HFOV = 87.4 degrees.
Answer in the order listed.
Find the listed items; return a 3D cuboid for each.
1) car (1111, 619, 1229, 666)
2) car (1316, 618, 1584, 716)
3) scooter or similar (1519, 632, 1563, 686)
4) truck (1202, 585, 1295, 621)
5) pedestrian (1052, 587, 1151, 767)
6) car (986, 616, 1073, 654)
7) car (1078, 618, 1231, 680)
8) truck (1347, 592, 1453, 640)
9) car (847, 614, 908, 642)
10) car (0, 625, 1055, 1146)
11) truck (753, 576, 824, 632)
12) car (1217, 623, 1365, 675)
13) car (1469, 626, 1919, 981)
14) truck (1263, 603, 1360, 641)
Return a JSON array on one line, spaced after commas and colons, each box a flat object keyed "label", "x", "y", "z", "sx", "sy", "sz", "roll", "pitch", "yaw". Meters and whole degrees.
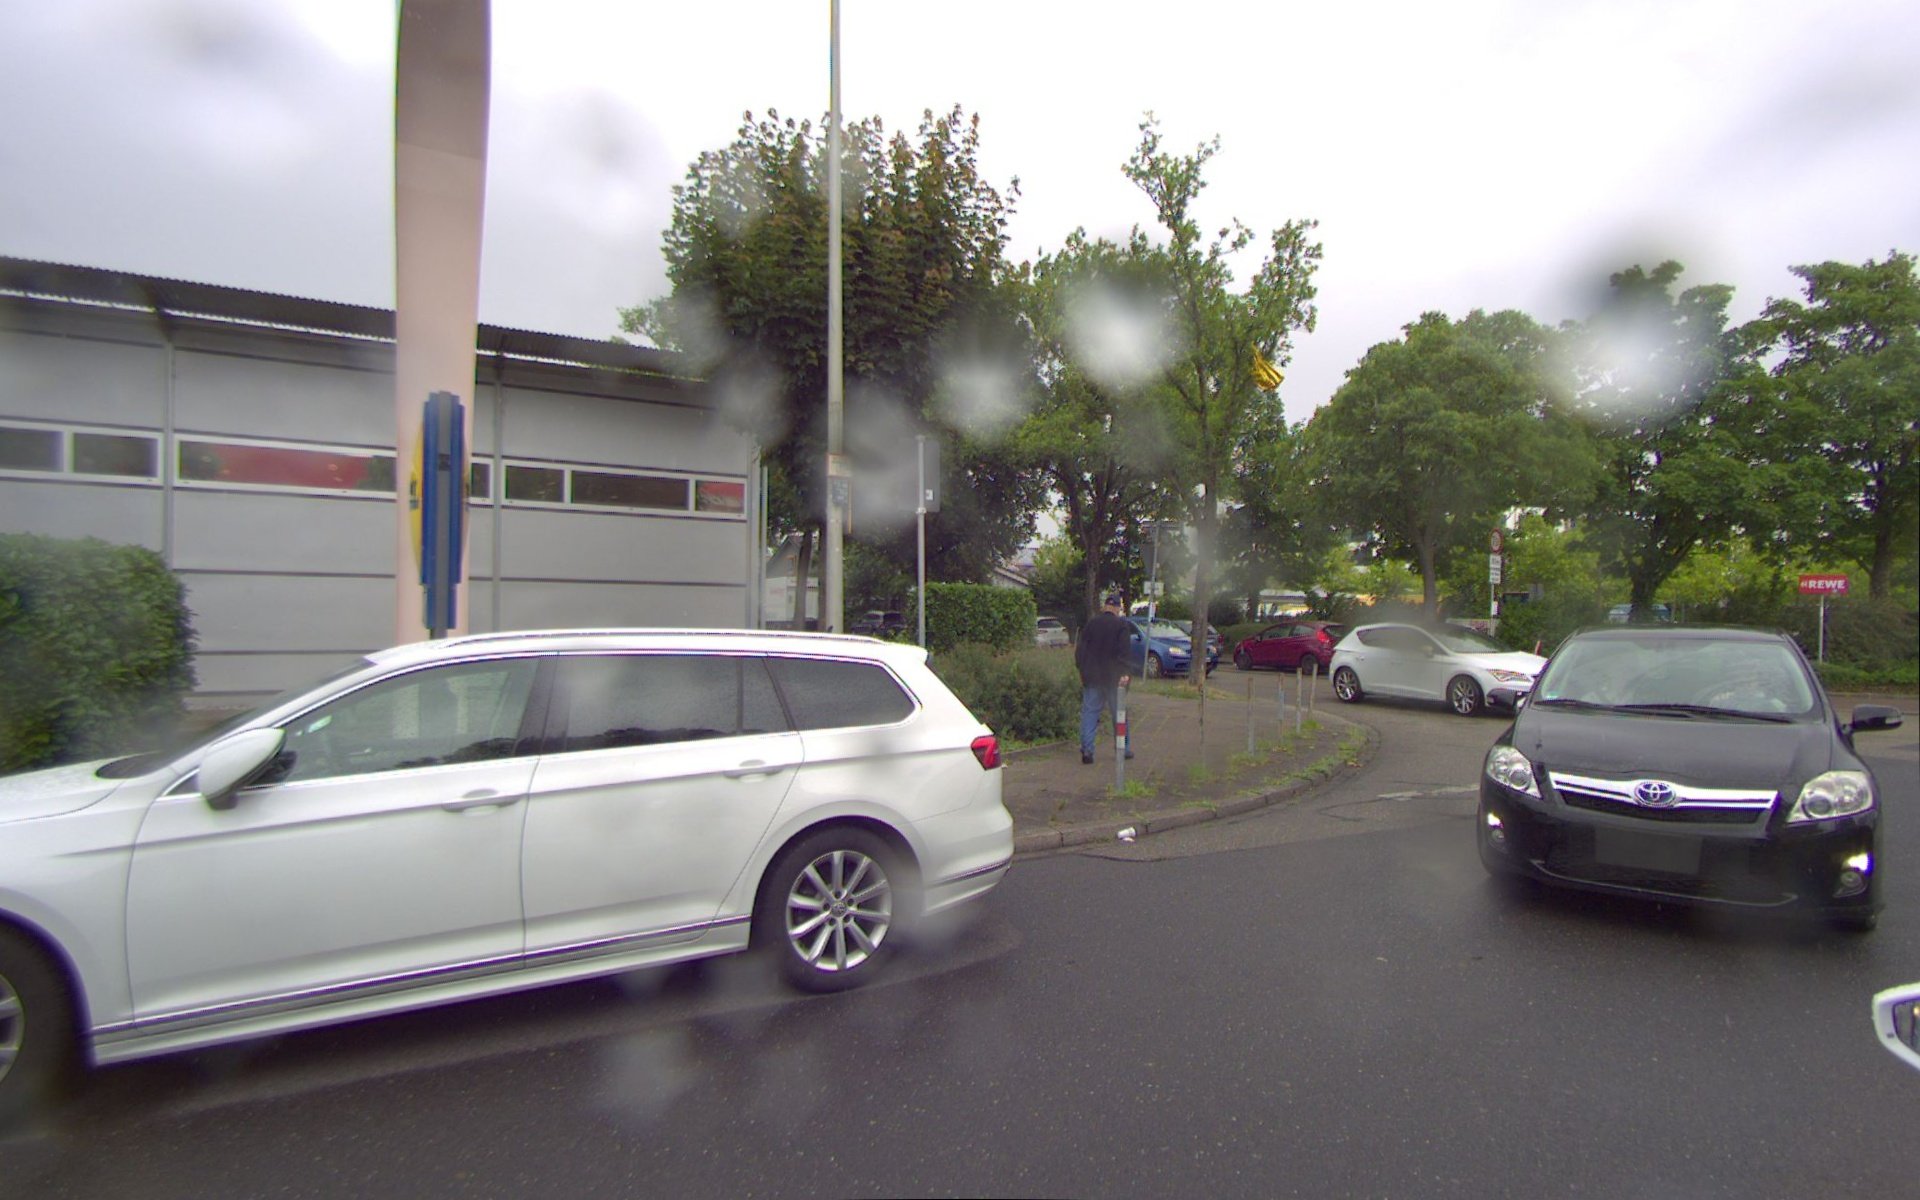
[{"label": "car", "x": 6.888, "y": 1.372, "z": 33.309, "sx": 1.715, "sy": 1.460, "sz": 3.970, "roll": 1, "pitch": -1, "yaw": -29}, {"label": "car", "x": 8.137, "y": 1.045, "z": 17.098, "sx": 1.711, "sy": 1.460, "sz": 3.979, "roll": 0, "pitch": -1, "yaw": -22}, {"label": "scooter or similar", "x": 13.165, "y": 1.337, "z": 22.748, "sx": 1.044, "sy": 1.191, "sz": 0.283, "roll": 1, "pitch": -1, "yaw": -22}, {"label": "truck", "x": 18.019, "y": 0.223, "z": 62.642, "sx": 6.064, "sy": 2.087, "sz": 1.983, "roll": 1, "pitch": -1, "yaw": -31}, {"label": "pedestrian", "x": 1.411, "y": 0.732, "z": 9.965, "sx": 0.745, "sy": 1.696, "sz": 0.781, "roll": 0, "pitch": -1, "yaw": 28}, {"label": "car", "x": 2.772, "y": 1.384, "z": 40.928, "sx": 1.715, "sy": 1.460, "sz": 3.970, "roll": 1, "pitch": -1, "yaw": -29}, {"label": "car", "x": 4.869, "y": 1.194, "z": 25.631, "sx": 1.715, "sy": 1.460, "sz": 3.970, "roll": 1, "pitch": -1, "yaw": -29}, {"label": "truck", "x": 24.850, "y": 0.925, "z": 56.674, "sx": 6.314, "sy": 2.636, "sz": 1.986, "roll": 1, "pitch": -1, "yaw": -27}, {"label": "car", "x": -4.371, "y": 1.461, "z": 52.667, "sx": 1.715, "sy": 1.401, "sz": 4.067, "roll": 1, "pitch": -1, "yaw": -29}, {"label": "car", "x": -1.940, "y": 0.849, "z": 4.274, "sx": 4.436, "sy": 1.453, "sz": 1.828, "roll": 1, "pitch": -2, "yaw": -29}, {"label": "truck", "x": -11.406, "y": 0.287, "z": 66.331, "sx": 2.571, "sy": 3.515, "sz": 6.763, "roll": 1, "pitch": -1, "yaw": -29}, {"label": "car", "x": 9.443, "y": 1.346, "z": 28.964, "sx": 1.715, "sy": 1.381, "sz": 3.970, "roll": 1, "pitch": -1, "yaw": -29}, {"label": "car", "x": 4.481, "y": 0.900, "z": 6.293, "sx": 1.708, "sy": 1.460, "sz": 3.986, "roll": -1, "pitch": -2, "yaw": 36}, {"label": "truck", "x": 20.704, "y": 1.283, "z": 59.010, "sx": 6.064, "sy": 2.122, "sz": 1.983, "roll": 1, "pitch": -1, "yaw": -31}]
